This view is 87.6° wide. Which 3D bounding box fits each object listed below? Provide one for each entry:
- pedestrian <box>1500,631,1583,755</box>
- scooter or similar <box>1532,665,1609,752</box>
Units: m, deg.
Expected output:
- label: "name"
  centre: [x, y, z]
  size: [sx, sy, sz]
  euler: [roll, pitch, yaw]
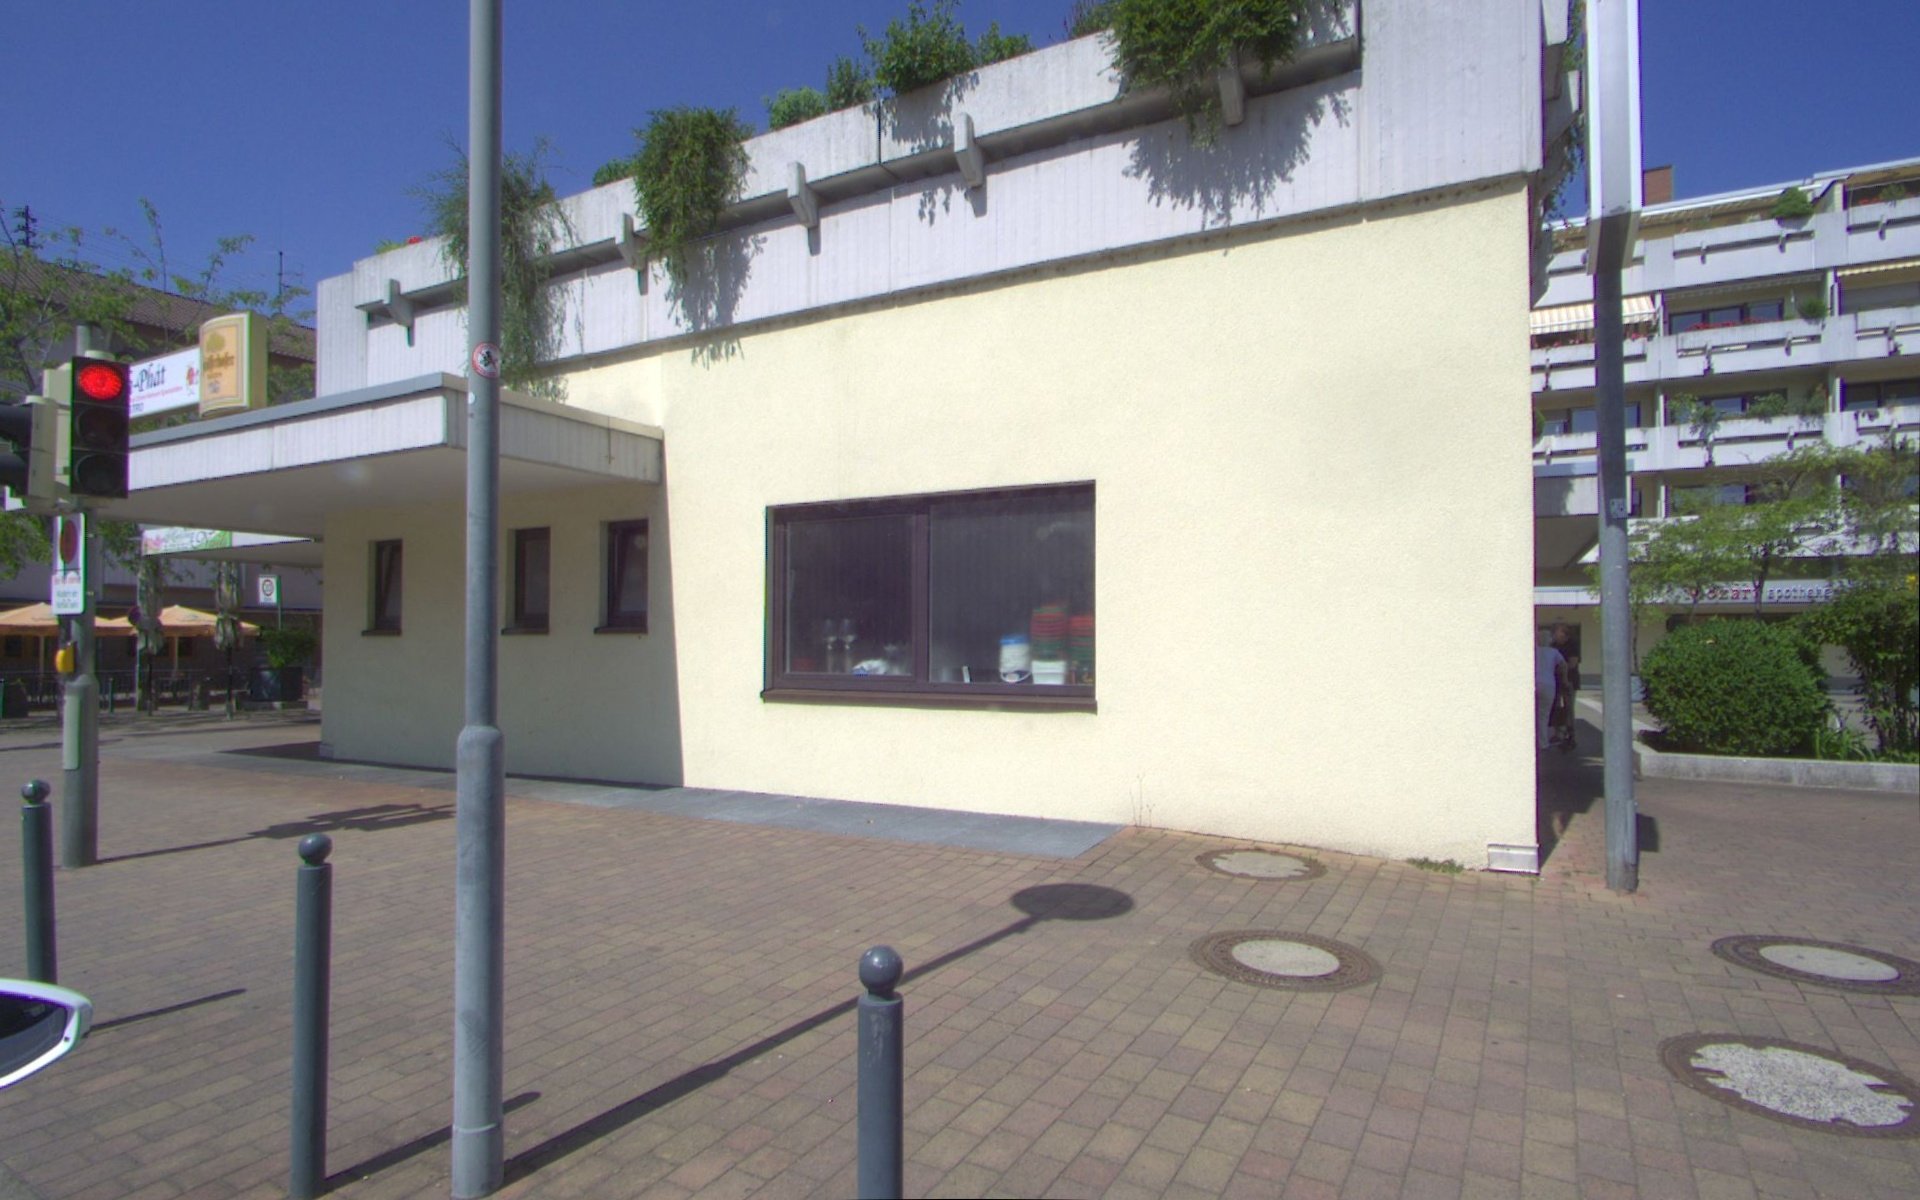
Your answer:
- label: "pedestrian"
  centre: [7.418, 1.165, 12.777]
  size: [0.801, 1.516, 0.615]
  euler: [1, -2, -35]
- label: "scooter or similar"
  centre: [8.072, 1.417, 13.239]
  size: [0.795, 1.088, 0.587]
  euler: [2, -2, -35]
